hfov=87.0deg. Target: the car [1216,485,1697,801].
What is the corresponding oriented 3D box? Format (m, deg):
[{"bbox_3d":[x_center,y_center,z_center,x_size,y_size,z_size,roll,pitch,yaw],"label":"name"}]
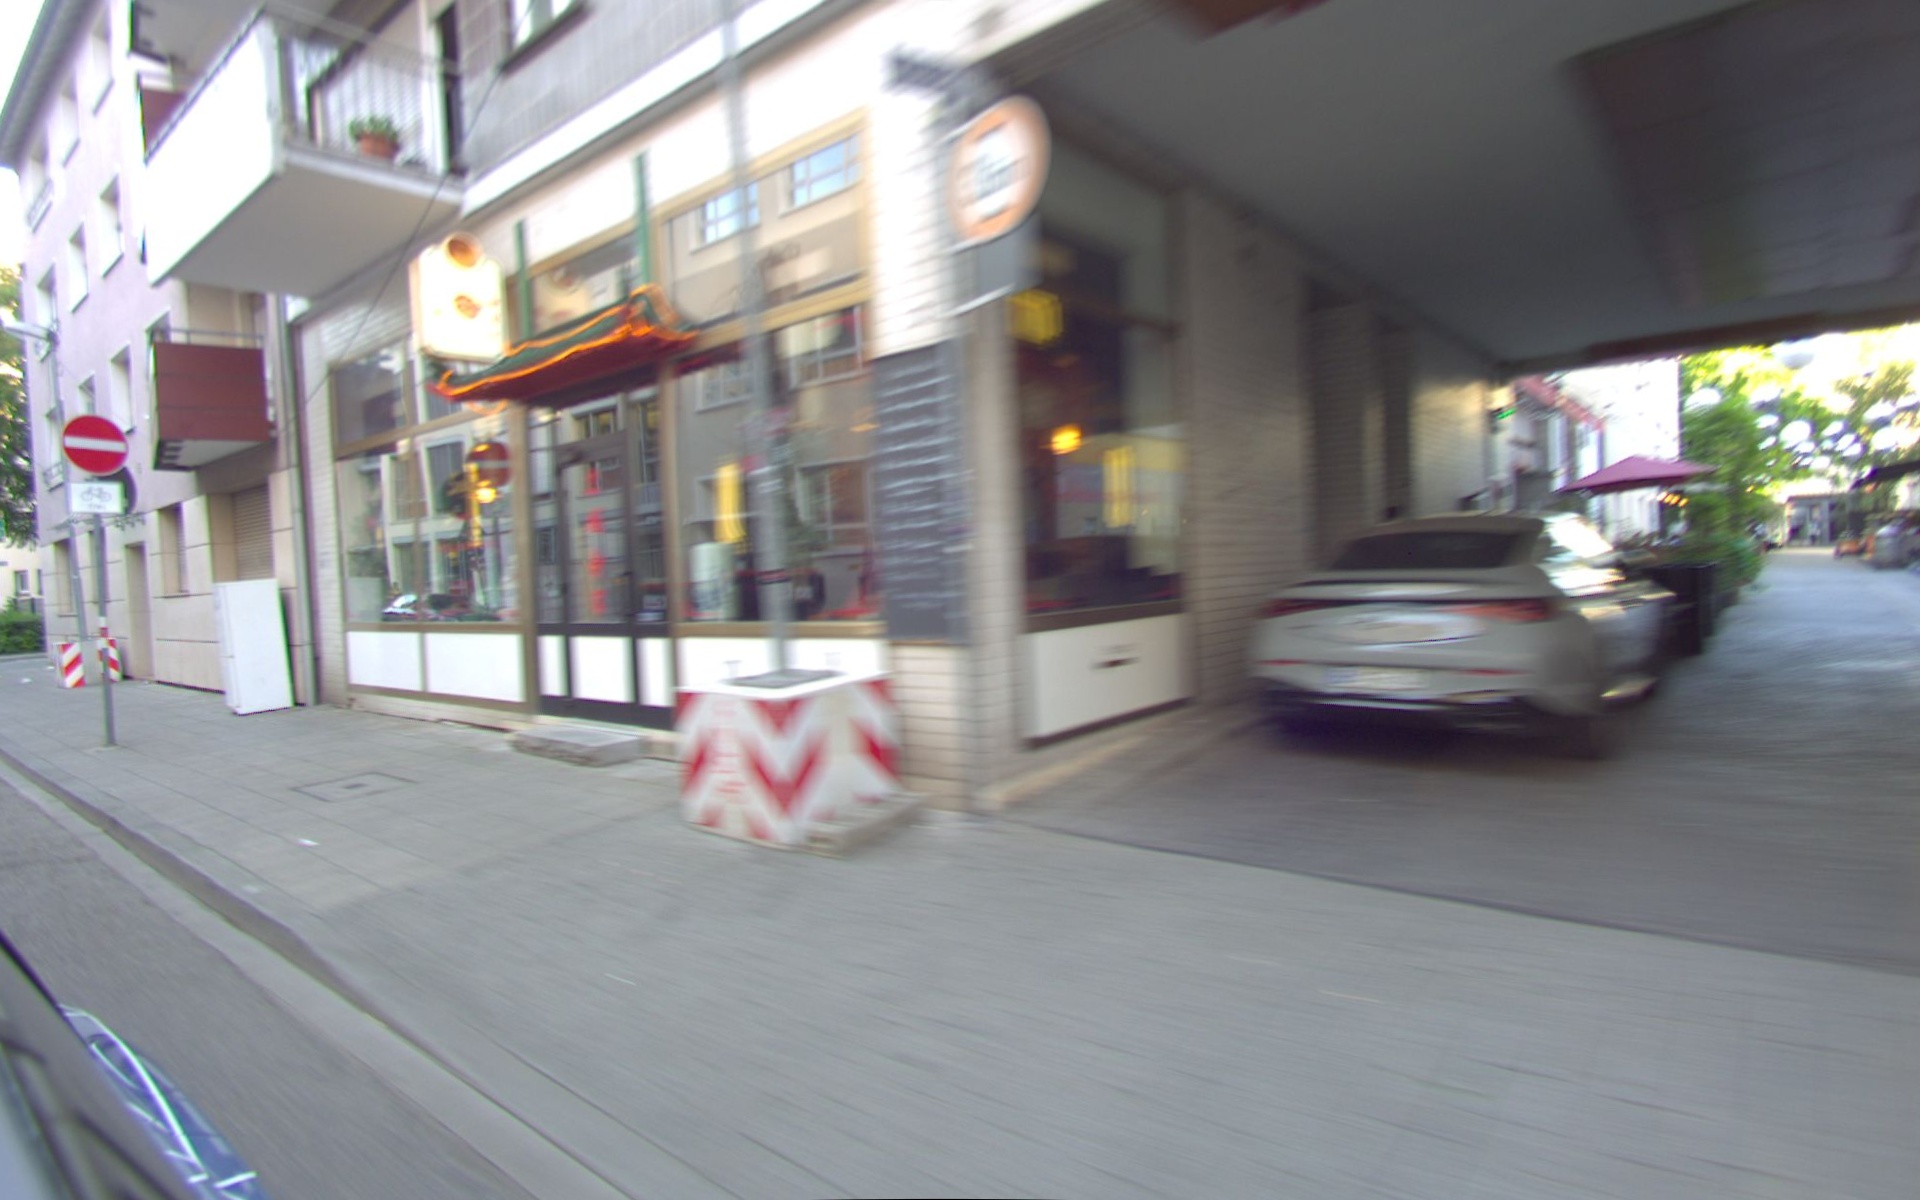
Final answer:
[{"bbox_3d":[3.624,0.105,6.887,2.018,1.432,4.274,-1,2,39],"label":"car"}]
